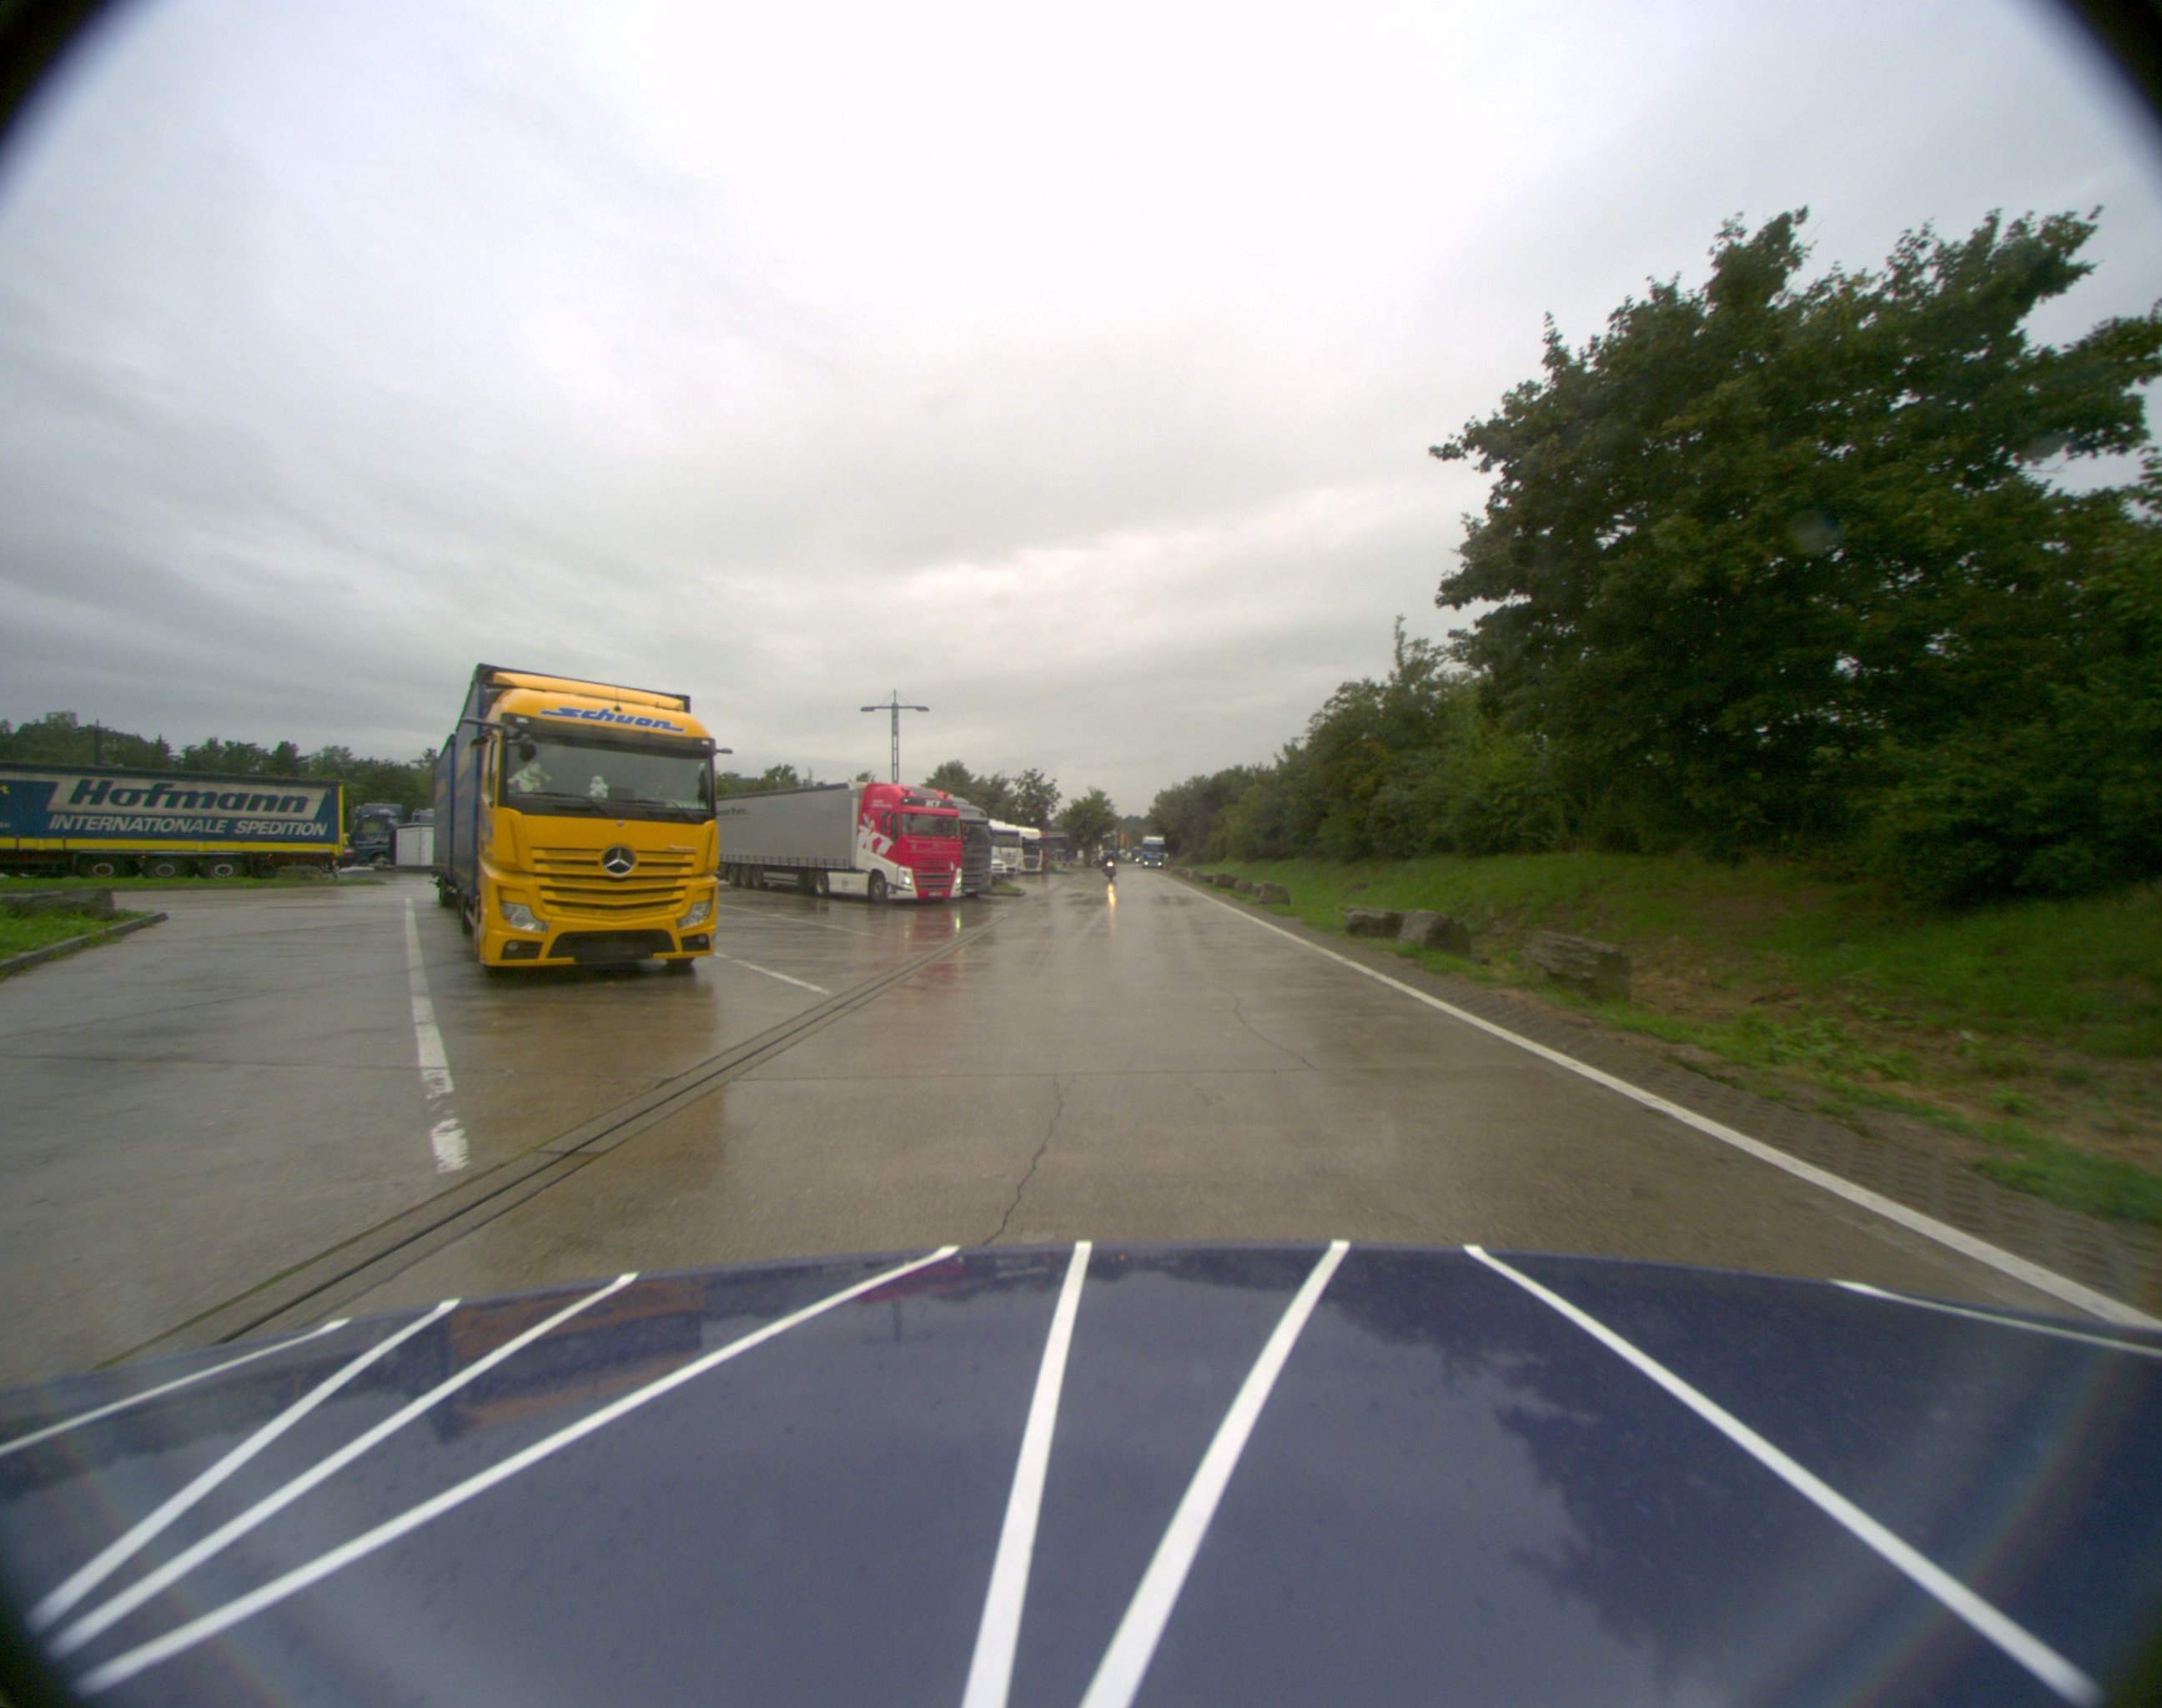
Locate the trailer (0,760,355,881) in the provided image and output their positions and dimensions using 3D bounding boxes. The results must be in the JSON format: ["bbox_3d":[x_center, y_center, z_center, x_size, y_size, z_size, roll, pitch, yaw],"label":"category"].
[{"bbox_3d":[-32.424,-1.143,26.273,10.408,3.734,2.064,-3,1,-44],"label":"trailer"}]

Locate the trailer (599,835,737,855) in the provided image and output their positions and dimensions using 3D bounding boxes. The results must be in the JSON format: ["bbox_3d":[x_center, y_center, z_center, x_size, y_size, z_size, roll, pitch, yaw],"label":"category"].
[{"bbox_3d":[-28.835,-0.621,53.308,7.980,1.282,3.236,-1,1,-43],"label":"trailer"}]

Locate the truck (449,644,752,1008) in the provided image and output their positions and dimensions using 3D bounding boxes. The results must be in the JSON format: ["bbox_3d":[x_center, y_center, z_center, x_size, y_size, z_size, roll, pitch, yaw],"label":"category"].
[{"bbox_3d":[-8.092,-0.347,12.119,2.846,3.896,8.107,0,1,-41],"label":"truck"}]

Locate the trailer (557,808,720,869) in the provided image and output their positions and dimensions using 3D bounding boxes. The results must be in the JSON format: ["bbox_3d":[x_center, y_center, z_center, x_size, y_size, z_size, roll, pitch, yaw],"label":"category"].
[{"bbox_3d":[-34.120,-1.175,59.025,10.483,4.361,3.087,-1,1,-43],"label":"trailer"}]

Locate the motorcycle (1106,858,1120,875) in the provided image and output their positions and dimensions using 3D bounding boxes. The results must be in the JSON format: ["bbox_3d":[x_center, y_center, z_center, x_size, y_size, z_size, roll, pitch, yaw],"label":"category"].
[{"bbox_3d":[1.989,0.782,47.300,0.878,1.016,2.353,1,0,3],"label":"motorcycle"}]

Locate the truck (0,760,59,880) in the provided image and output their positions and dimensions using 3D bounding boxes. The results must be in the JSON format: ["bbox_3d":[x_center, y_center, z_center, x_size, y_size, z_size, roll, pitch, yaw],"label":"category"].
[{"bbox_3d":[-35.773,-0.965,22.986,5.350,3.734,2.064,-4,1,-44],"label":"truck"}]

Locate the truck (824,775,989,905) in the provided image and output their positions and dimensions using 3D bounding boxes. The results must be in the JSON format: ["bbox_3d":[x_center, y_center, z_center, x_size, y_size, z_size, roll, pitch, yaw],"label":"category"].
[{"bbox_3d":[-6.013,-0.450,25.821,5.007,3.896,3.253,2,1,45],"label":"truck"}]

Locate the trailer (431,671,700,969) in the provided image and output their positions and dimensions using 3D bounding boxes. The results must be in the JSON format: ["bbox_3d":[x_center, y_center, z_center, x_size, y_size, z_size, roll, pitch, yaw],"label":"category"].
[{"bbox_3d":[-12.534,-0.557,17.088,2.875,3.896,16.585,0,1,-42],"label":"trailer"}]

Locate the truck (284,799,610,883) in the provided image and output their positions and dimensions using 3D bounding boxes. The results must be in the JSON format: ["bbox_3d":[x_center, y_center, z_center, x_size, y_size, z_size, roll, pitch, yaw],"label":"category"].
[{"bbox_3d":[-37.189,-0.733,45.731,14.598,4.361,3.468,-1,1,-42],"label":"truck"}]

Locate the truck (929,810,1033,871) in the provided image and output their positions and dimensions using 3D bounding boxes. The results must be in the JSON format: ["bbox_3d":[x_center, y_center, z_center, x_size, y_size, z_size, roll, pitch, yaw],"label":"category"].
[{"bbox_3d":[-7.360,-0.948,54.910,7.914,4.068,3.253,1,1,45],"label":"truck"}]

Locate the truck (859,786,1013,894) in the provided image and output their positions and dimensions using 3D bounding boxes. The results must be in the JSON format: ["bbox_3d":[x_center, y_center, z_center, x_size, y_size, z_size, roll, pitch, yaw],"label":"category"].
[{"bbox_3d":[-6.006,-0.538,30.769,6.536,3.896,2.906,1,1,45],"label":"truck"}]

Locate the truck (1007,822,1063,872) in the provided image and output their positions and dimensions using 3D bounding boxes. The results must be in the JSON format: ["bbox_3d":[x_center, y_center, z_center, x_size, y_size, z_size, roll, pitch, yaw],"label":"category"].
[{"bbox_3d":[-4.216,-0.609,69.180,4.615,4.361,2.612,1,1,45],"label":"truck"}]

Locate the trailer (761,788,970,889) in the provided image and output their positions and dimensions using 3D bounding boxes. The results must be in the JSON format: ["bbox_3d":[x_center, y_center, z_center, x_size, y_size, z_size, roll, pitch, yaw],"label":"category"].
[{"bbox_3d":[-10.554,-0.695,35.288,13.894,3.896,2.882,1,1,45],"label":"trailer"}]

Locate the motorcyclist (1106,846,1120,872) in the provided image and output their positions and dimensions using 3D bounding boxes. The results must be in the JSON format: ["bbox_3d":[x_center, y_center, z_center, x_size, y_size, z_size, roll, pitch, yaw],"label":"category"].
[{"bbox_3d":[1.993,0.321,47.232,0.878,1.558,1.373,1,0,2],"label":"motorcyclist"}]

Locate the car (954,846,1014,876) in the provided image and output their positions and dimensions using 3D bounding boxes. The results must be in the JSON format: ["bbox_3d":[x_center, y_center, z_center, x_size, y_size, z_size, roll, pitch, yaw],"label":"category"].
[{"bbox_3d":[-6.288,0.393,49.057,1.852,1.848,3.988,-1,1,-43],"label":"car"}]

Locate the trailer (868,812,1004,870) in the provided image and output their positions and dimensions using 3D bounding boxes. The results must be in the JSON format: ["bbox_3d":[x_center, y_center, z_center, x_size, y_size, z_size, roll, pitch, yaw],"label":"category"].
[{"bbox_3d":[-11.617,-1.027,59.165,13.493,4.067,3.253,1,1,45],"label":"trailer"}]

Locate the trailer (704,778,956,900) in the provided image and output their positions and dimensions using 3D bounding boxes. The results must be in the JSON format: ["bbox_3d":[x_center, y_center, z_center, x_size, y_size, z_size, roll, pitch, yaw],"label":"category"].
[{"bbox_3d":[-10.779,-0.592,30.575,14.786,3.896,3.253,1,1,45],"label":"trailer"}]

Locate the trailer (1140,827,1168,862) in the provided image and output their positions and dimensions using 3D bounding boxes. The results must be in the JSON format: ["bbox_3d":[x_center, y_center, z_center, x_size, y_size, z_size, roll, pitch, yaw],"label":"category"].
[{"bbox_3d":[9.633,-1.193,101.927,3.243,4.361,13.767,0,1,3],"label":"trailer"}]

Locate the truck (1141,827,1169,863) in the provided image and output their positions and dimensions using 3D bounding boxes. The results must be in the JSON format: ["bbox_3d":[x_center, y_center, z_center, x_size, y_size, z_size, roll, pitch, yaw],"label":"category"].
[{"bbox_3d":[9.240,-1.068,95.384,3.243,4.361,6.315,0,1,3],"label":"truck"}]

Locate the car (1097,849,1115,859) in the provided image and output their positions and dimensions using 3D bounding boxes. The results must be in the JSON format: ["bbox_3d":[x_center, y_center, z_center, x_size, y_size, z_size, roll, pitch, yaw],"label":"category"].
[{"bbox_3d":[4.083,0.023,122.548,1.859,1.587,4.129,0,1,18],"label":"car"}]

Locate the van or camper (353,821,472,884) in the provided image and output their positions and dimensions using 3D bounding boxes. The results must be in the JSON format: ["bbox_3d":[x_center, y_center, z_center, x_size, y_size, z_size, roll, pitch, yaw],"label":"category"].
[{"bbox_3d":[-36.361,-0.127,41.466,4.616,3.219,2.264,-3,1,-42],"label":"van or camper"}]

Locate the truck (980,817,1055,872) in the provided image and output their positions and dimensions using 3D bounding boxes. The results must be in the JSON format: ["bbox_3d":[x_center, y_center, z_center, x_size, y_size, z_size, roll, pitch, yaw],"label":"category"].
[{"bbox_3d":[-5.373,-0.804,63.696,5.796,4.361,3.253,1,1,45],"label":"truck"}]
